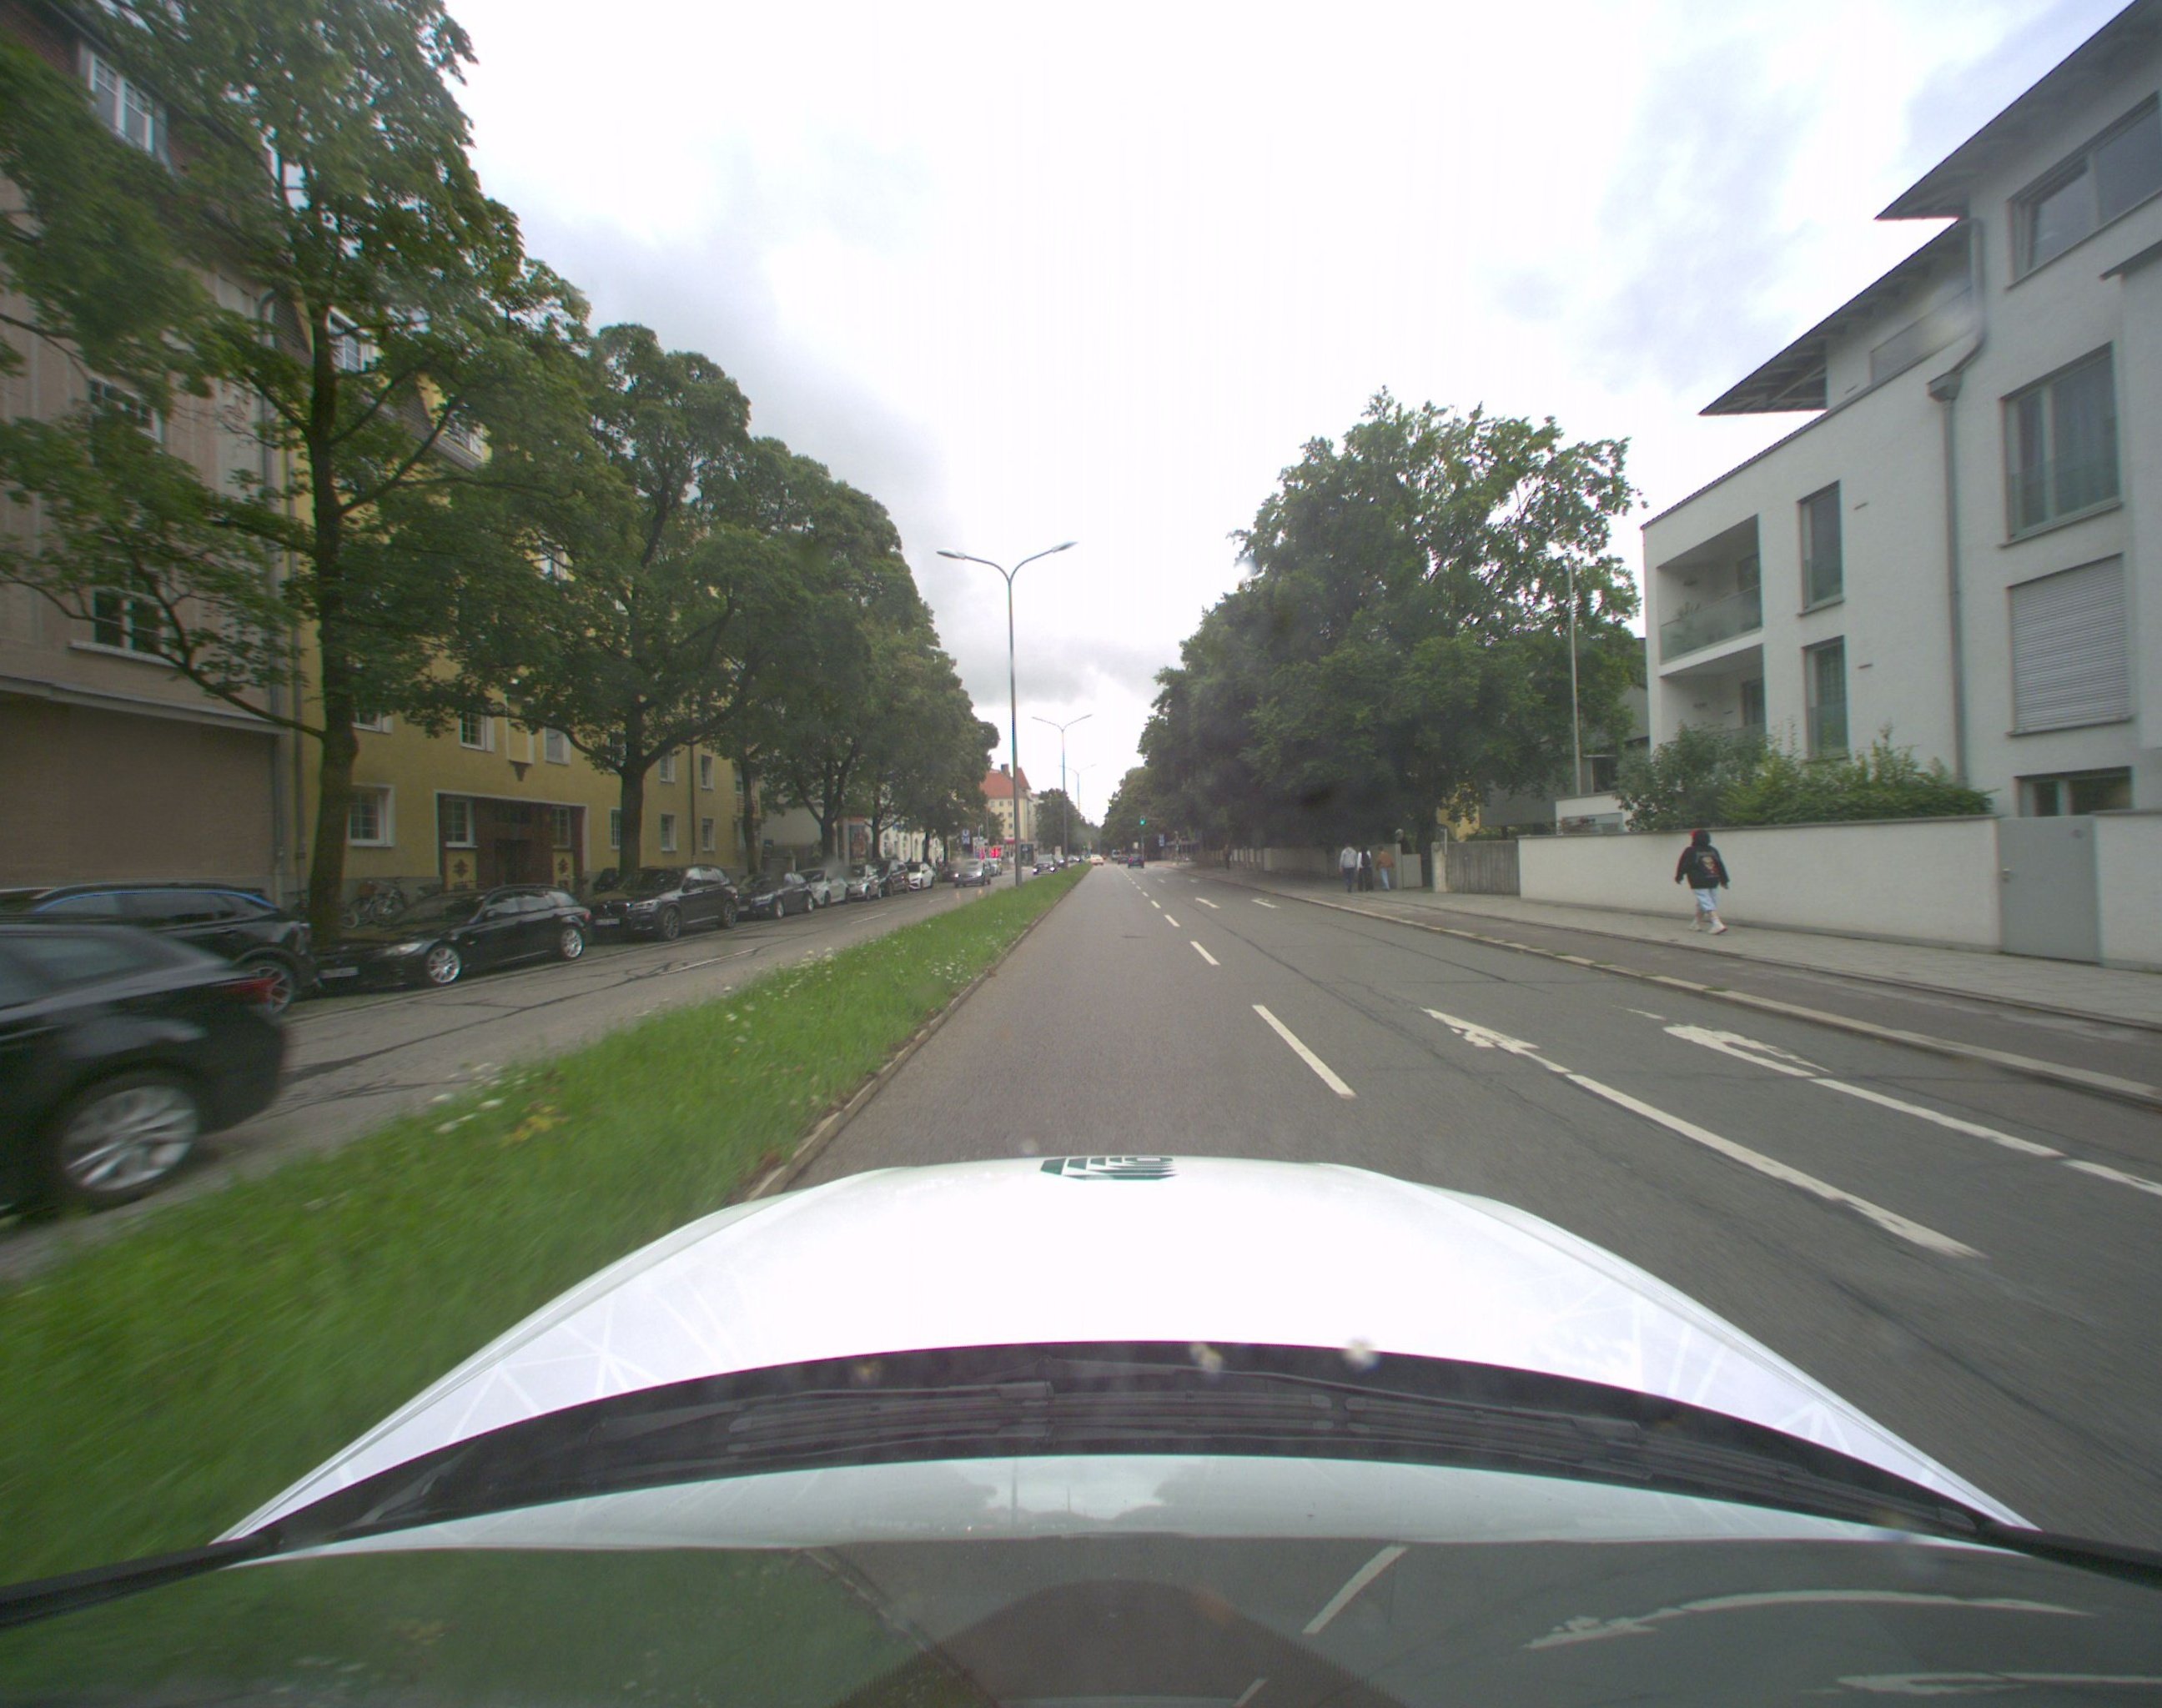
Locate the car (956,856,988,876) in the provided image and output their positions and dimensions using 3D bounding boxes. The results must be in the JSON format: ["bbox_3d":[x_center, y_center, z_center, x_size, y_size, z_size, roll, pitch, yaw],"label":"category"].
[{"bbox_3d":[-8.518,0.924,64.093,1.804,1.507,3.962,-2,0,2],"label":"car"}]

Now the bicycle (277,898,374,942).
[{"bbox_3d":[-18.323,1.577,19.814,0.482,0.899,1.931,-2,0,2],"label":"bicycle"}]

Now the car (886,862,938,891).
[{"bbox_3d":[-9.093,1.172,44.119,1.720,1.403,4.406,-2,0,2],"label":"car"}]

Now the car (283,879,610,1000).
[{"bbox_3d":[-9.908,1.224,13.293,1.686,1.454,4.494,-2,0,2],"label":"car"}]

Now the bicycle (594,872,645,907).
[{"bbox_3d":[-17.697,1.343,31.290,0.767,1.222,1.931,-2,0,2],"label":"bicycle"}]

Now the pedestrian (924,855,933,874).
[{"bbox_3d":[-14.447,0.994,77.282,0.594,1.697,0.937,-2,0,-26],"label":"pedestrian"}]

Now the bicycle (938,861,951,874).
[{"bbox_3d":[-12.111,1.185,72.190,0.460,1.115,1.947,-2,0,-30],"label":"bicycle"}]

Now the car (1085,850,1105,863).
[{"bbox_3d":[1.830,0.315,110.986,1.779,1.647,4.764,-2,0,-10],"label":"car"}]

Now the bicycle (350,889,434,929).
[{"bbox_3d":[-18.376,1.451,21.793,0.539,0.899,1.931,-2,0,2],"label":"bicycle"}]

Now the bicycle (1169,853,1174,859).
[{"bbox_3d":[14.055,0.312,126.772,0.555,1.014,2.015,-2,0,0],"label":"bicycle"}]

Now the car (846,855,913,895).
[{"bbox_3d":[-9.418,0.932,38.512,1.803,1.728,4.769,-2,0,2],"label":"car"}]

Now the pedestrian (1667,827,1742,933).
[{"bbox_3d":[9.768,0.396,12.779,0.526,1.581,0.729,-4,0,1],"label":"pedestrian"}]

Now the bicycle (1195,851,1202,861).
[{"bbox_3d":[13.947,0.262,96.763,0.597,1.121,1.890,-2,-1,2],"label":"bicycle"}]

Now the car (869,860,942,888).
[{"bbox_3d":[-10.271,1.165,47.838,3.877,1.464,1.732,-2,0,0],"label":"car"}]

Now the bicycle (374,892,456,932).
[{"bbox_3d":[-17.775,1.525,21.784,0.539,0.899,1.931,-2,0,2],"label":"bicycle"}]

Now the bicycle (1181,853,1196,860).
[{"bbox_3d":[15.632,0.380,118.272,2.130,1.014,0.636,-2,0,9],"label":"bicycle"}]

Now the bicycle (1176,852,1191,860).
[{"bbox_3d":[15.210,0.307,120.458,2.130,1.014,0.604,-2,0,9],"label":"bicycle"}]

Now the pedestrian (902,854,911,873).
[{"bbox_3d":[-15.239,0.819,71.214,0.541,1.697,0.770,-2,0,0],"label":"pedestrian"}]

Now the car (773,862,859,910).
[{"bbox_3d":[-9.784,1.135,30.348,1.720,1.561,4.059,-2,0,2],"label":"car"}]

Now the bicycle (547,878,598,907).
[{"bbox_3d":[-18.077,1.349,28.994,0.539,0.899,1.931,-2,0,2],"label":"bicycle"}]

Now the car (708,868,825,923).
[{"bbox_3d":[-9.473,1.198,24.939,1.720,1.406,4.365,-2,0,2],"label":"car"}]

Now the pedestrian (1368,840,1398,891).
[{"bbox_3d":[10.454,0.380,28.180,0.664,1.705,0.766,-4,0,0],"label":"pedestrian"}]

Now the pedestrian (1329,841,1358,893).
[{"bbox_3d":[9.054,0.452,28.137,0.664,1.722,0.729,-4,0,0],"label":"pedestrian"}]

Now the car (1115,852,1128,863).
[{"bbox_3d":[5.977,0.500,119.747,1.772,1.474,3.894,0,0,2],"label":"car"}]

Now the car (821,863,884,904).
[{"bbox_3d":[-9.525,1.214,34.168,1.721,1.558,3.009,-2,0,0],"label":"car"}]

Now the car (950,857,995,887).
[{"bbox_3d":[-6.162,0.978,46.748,1.804,1.507,4.059,-4,0,2],"label":"car"}]

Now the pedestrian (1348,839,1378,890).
[{"bbox_3d":[9.740,0.370,28.125,0.664,1.693,0.729,-4,0,0],"label":"pedestrian"}]

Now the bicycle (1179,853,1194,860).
[{"bbox_3d":[15.436,0.362,119.082,2.130,1.071,0.604,-2,0,9],"label":"bicycle"}]

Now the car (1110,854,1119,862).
[{"bbox_3d":[7.919,0.958,190.188,1.986,1.756,4.001,-2,0,1],"label":"car"}]

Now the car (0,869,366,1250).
[{"bbox_3d":[-5.331,0.912,2.759,1.804,1.507,4.325,-4,0,2],"label":"car"}]

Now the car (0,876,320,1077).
[{"bbox_3d":[-10.469,1.151,7.896,1.866,1.687,4.440,-2,0,2],"label":"car"}]

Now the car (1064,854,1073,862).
[{"bbox_3d":[-2.535,0.831,165.694,1.753,1.460,4.001,-2,0,1],"label":"car"}]

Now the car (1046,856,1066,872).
[{"bbox_3d":[-2.761,1.043,90.857,1.868,1.585,4.623,-4,0,2],"label":"car"}]

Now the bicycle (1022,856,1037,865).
[{"bbox_3d":[-8.050,0.983,126.916,2.275,1.304,0.694,-2,0,2],"label":"bicycle"}]

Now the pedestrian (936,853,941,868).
[{"bbox_3d":[-15.595,0.685,89.325,0.422,1.631,0.779,-2,0,-13],"label":"pedestrian"}]

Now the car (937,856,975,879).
[{"bbox_3d":[-8.824,0.896,58.011,1.804,1.507,4.647,-2,0,2],"label":"car"}]

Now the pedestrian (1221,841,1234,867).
[{"bbox_3d":[11.167,-0.025,61.978,0.774,1.942,0.803,-3,0,2],"label":"pedestrian"}]

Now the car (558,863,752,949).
[{"bbox_3d":[-9.748,1.097,19.162,1.871,1.645,4.772,-2,0,2],"label":"car"}]

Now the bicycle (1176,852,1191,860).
[{"bbox_3d":[15.194,0.344,121.188,2.130,1.086,0.604,-2,0,9],"label":"bicycle"}]

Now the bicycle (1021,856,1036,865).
[{"bbox_3d":[-8.099,0.995,126.137,2.262,1.304,0.704,-2,0,2],"label":"bicycle"}]

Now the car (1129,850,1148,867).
[{"bbox_3d":[6.128,0.477,87.186,1.850,1.684,4.001,-2,0,1],"label":"car"}]

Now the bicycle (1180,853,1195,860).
[{"bbox_3d":[15.415,0.396,117.652,2.130,1.014,0.604,-2,0,9],"label":"bicycle"}]

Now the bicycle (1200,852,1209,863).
[{"bbox_3d":[12.395,0.336,81.641,0.620,1.090,2.026,-2,0,1],"label":"bicycle"}]

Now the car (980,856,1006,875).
[{"bbox_3d":[-7.966,1.047,74.105,1.642,1.585,3.793,-2,0,4],"label":"car"}]

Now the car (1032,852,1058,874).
[{"bbox_3d":[-2.990,0.710,68.110,1.763,1.679,4.371,-3,0,2],"label":"car"}]

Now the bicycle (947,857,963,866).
[{"bbox_3d":[-18.967,1.121,122.841,2.393,1.251,0.789,0,-1,-9],"label":"bicycle"}]
